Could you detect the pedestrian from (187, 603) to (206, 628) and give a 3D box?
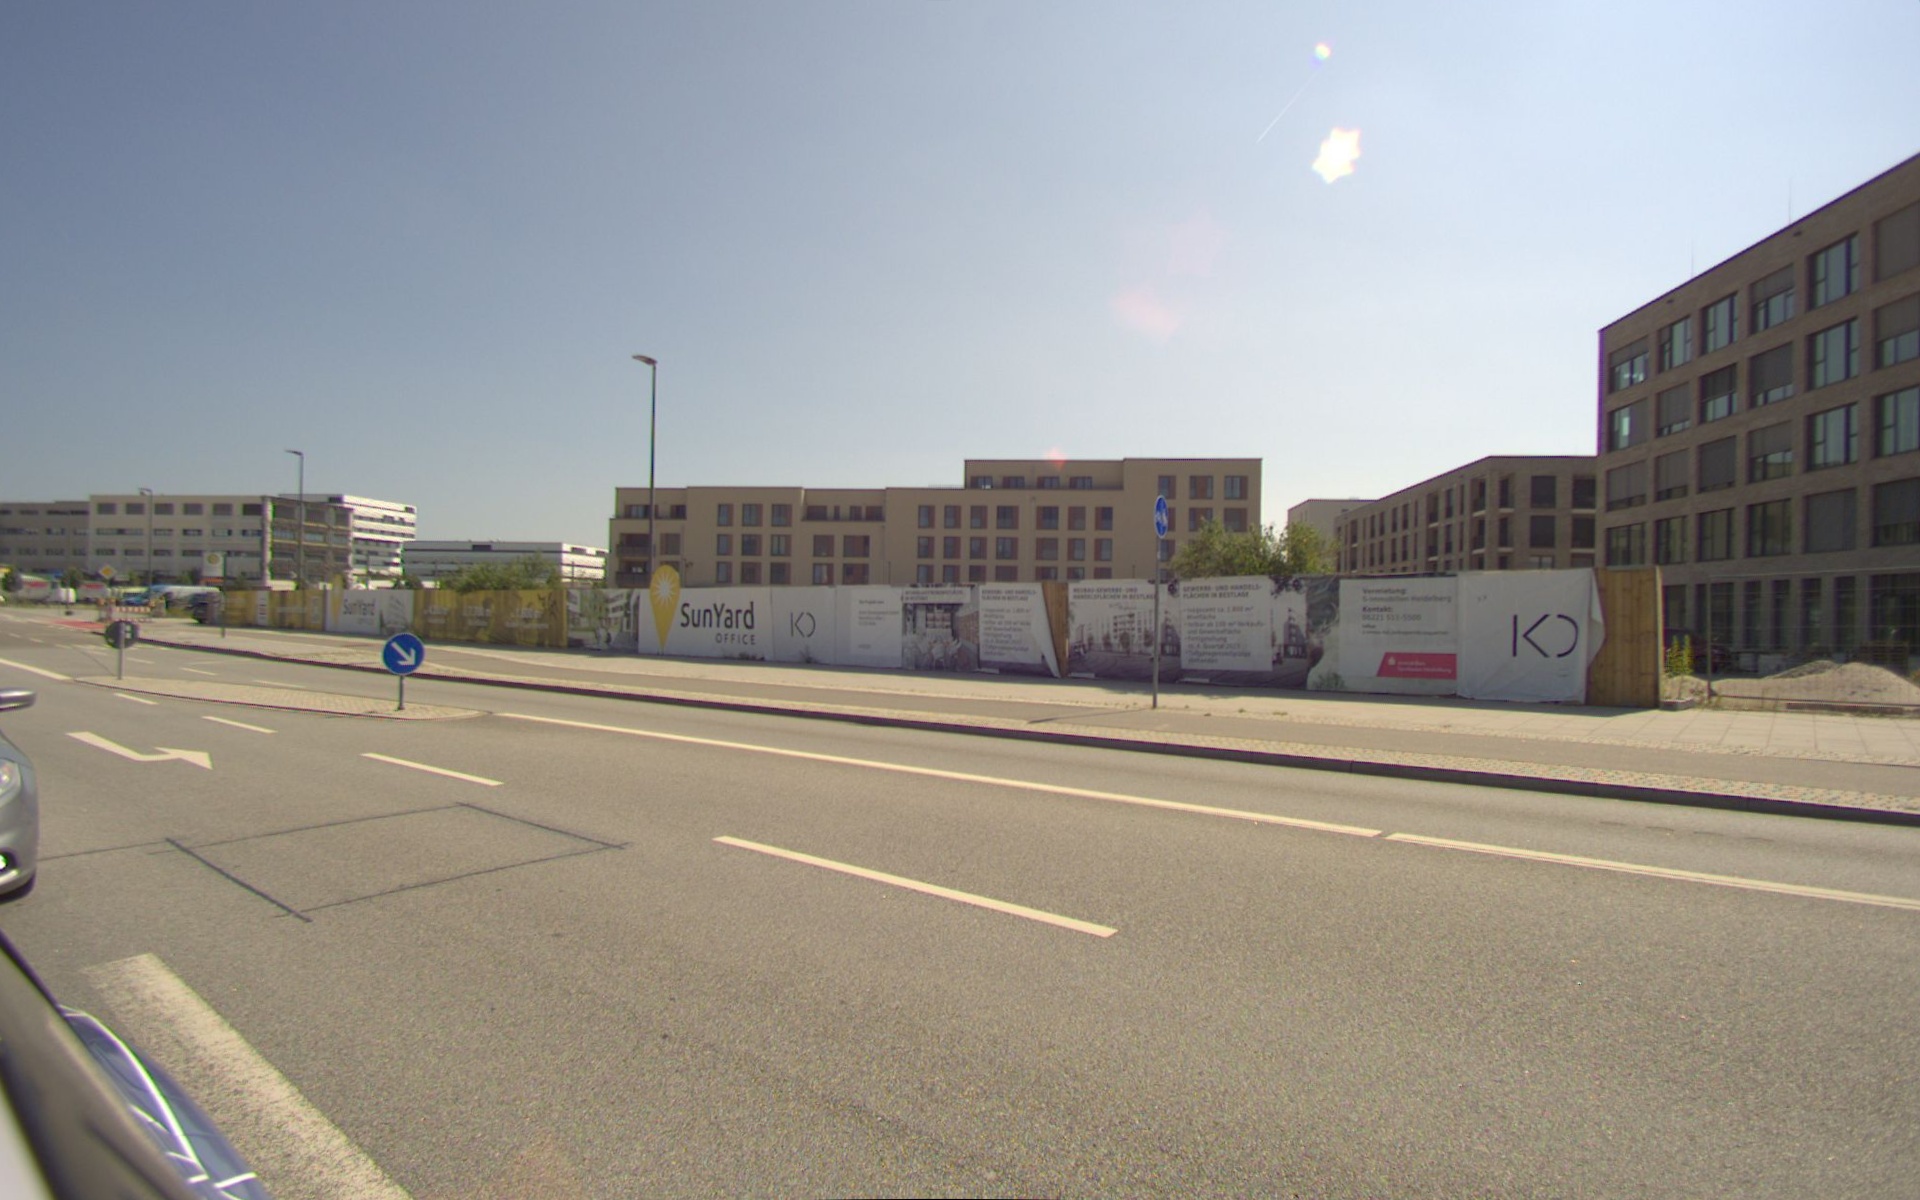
[{"bbox_3d":[-49.134,0.992,65.129,0.610,1.598,0.703,-1,0,5],"label":"pedestrian"}]

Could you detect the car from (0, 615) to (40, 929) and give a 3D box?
[{"bbox_3d":[-6.307,0.792,5.292,4.134,1.390,1.762,-1,0,41],"label":"car"}]

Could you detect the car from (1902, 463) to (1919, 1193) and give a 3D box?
[{"bbox_3d":[3.427,0.523,0.407,4.364,1.654,1.783,-1,-1,41],"label":"car"}]
